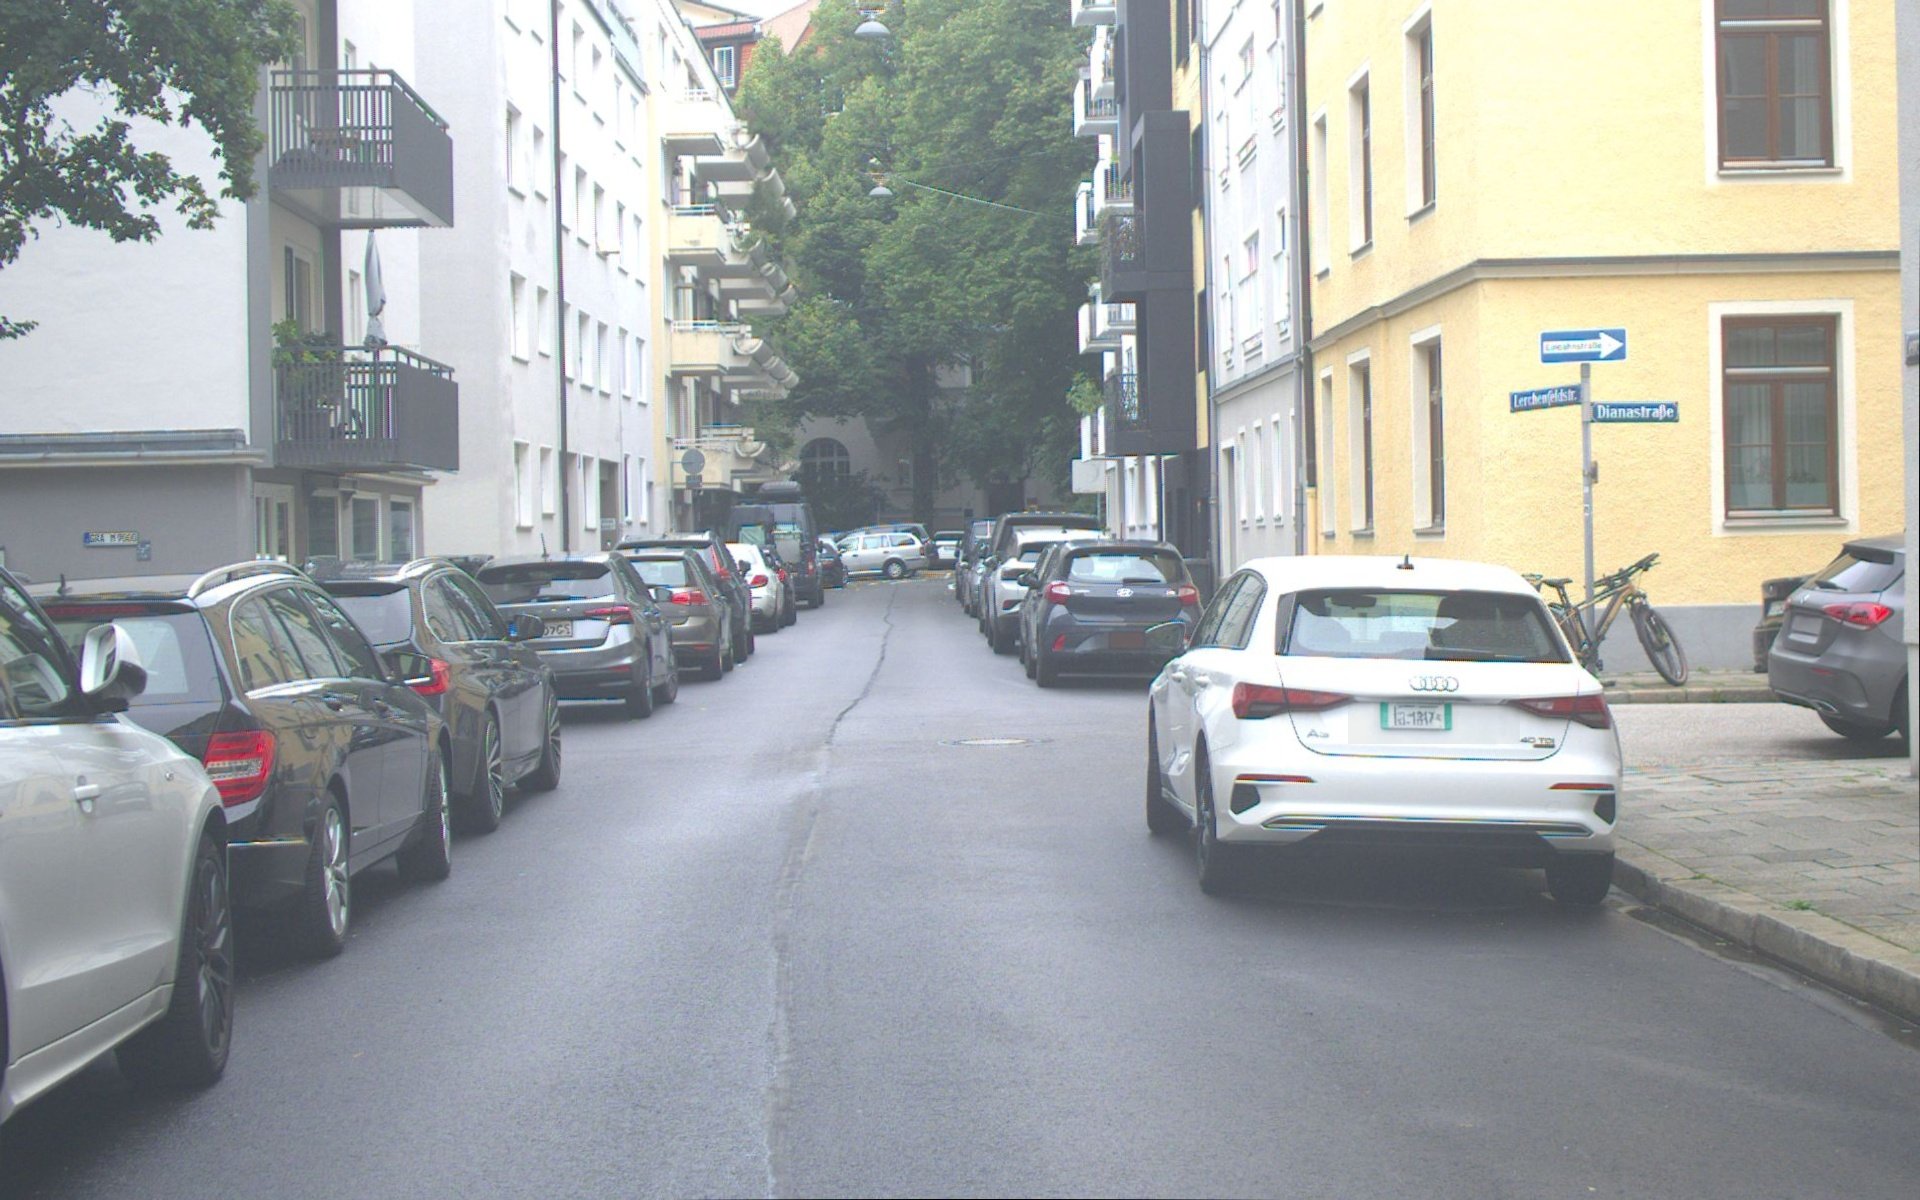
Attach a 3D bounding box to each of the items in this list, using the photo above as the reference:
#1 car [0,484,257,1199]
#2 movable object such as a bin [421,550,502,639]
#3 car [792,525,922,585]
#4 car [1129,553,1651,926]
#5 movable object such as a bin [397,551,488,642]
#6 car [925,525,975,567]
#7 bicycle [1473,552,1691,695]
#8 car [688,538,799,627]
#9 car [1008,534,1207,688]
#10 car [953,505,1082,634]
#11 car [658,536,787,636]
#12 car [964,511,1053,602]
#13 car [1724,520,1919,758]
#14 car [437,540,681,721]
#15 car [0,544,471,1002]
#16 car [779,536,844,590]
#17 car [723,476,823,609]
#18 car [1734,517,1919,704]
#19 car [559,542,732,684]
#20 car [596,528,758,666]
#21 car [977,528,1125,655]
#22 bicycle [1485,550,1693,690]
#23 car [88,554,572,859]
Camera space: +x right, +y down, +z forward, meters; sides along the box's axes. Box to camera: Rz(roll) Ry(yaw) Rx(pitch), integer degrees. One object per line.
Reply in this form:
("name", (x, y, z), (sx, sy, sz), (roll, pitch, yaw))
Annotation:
("car", (-2.944, 0.604, 8.088), (1.765, 1.669, 4.368), (-2, 1, -2))
("movable object such as a bin", (-7.927, -0.092, 54.690), (1.047, 1.332, 0.993), (-3, 1, 2))
("car", (-3.179, -1.385, 105.788), (3.885, 1.579, 1.648), (-4, 1, -2))
("car", (1.824, 0.536, 15.787), (1.819, 1.403, 3.953), (0, 2, -1))
("movable object such as a bin", (-8.060, -0.056, 53.612), (1.166, 1.332, 1.025), (-3, 1, 2))
("car", (-0.377, -1.947, 122.881), (1.642, 1.379, 3.746), (-4, 1, -1))
("bicycle", (5.521, 0.206, 30.557), (1.808, 1.170, 0.505), (-2, 3, -3))
("car", (-3.909, -0.347, 62.495), (1.776, 1.448, 4.046), (-4, 1, -1))
("car", (1.485, 0.067, 36.018), (1.751, 1.464, 4.343), (2, 1, -1))
("car", (0.847, -0.505, 53.389), (1.829, 1.903, 4.416), (1, 1, -1))
("car", (-3.905, -0.273, 57.223), (1.777, 1.482, 4.519), (-4, 1, 0))
("car", (1.105, -1.028, 80.082), (1.829, 1.992, 4.416), (2, 1, -1))
("car", (7.331, 0.187, 22.372), (4.203, 1.395, 2.001), (-1, 3, -4))
("car", (-3.513, 0.222, 30.741), (1.693, 1.437, 3.942), (-2, 1, 0))
("car", (-3.188, 0.560, 13.809), (1.766, 1.478, 4.424), (-2, 1, 0))
("car", (-4.124, -1.056, 95.904), (1.642, 1.379, 3.483), (-4, 1, -1))
("car", (-4.166, -1.305, 77.293), (1.936, 2.792, 4.533), (-4, 1, -1))
("car", (8.764, 0.054, 28.584), (4.211, 1.488, 1.712), (-1, 0, -3))
("car", (-3.476, 0.102, 38.533), (1.693, 1.437, 3.978), (-2, 1, -2))
("car", (-3.600, -0.083, 44.357), (1.776, 1.623, 4.415), (-2, 1, -1))
("car", (1.168, -0.149, 45.882), (1.682, 1.562, 4.416), (2, 1, -2))
("bicycle", (5.497, 0.172, 30.057), (1.713, 1.135, 0.374), (-2, 3, -1))
("car", (-3.338, 0.494, 19.058), (1.856, 1.403, 4.383), (-2, 1, 0))
